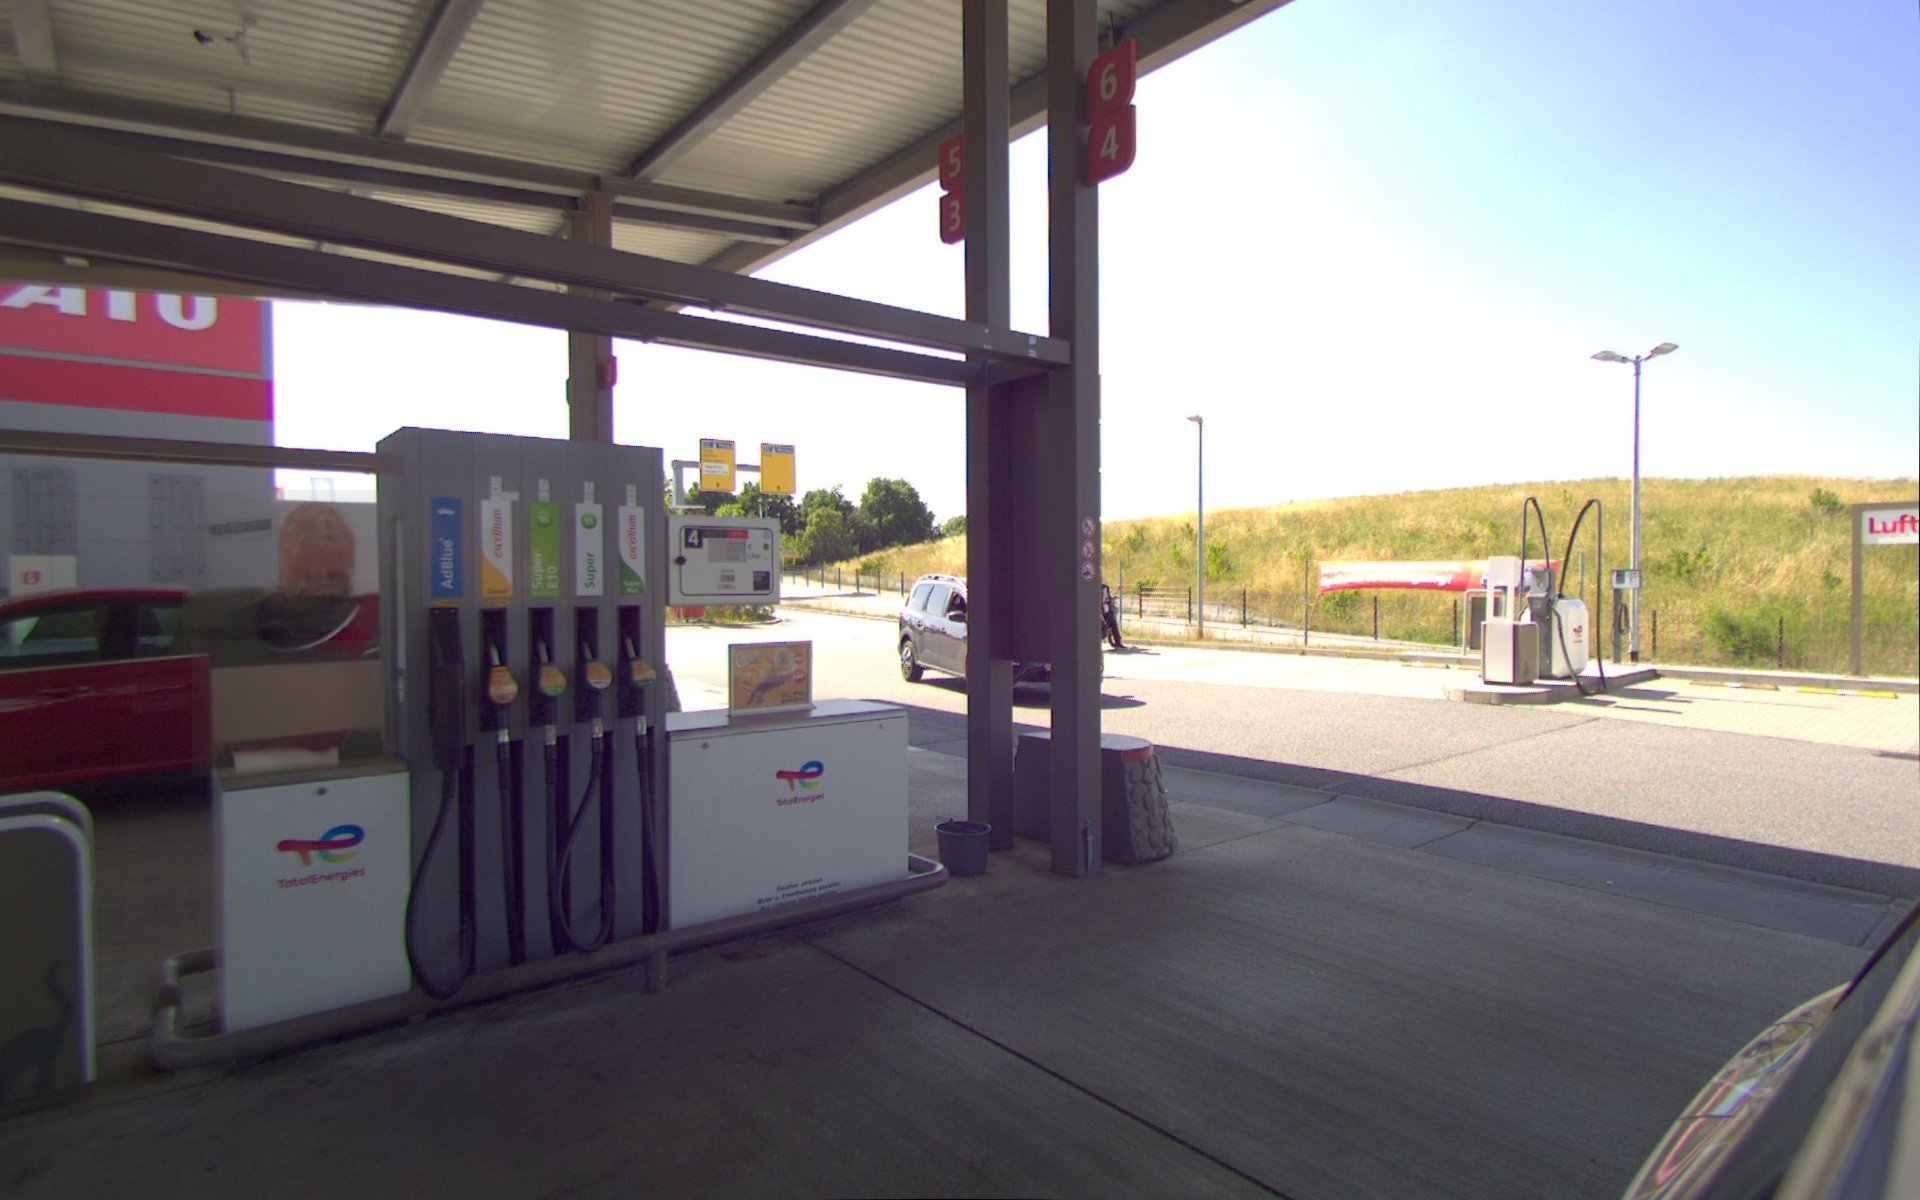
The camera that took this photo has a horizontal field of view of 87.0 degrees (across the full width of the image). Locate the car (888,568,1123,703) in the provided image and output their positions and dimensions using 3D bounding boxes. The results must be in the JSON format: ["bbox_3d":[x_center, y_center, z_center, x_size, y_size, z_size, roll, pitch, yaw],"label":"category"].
[{"bbox_3d":[0.459,0.394,14.919,1.707,1.665,4.642,0,1,-22],"label":"car"}]

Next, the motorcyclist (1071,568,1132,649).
[{"bbox_3d":[3.088,0.160,22.002,1.024,1.709,1.089,1,1,26],"label":"motorcyclist"}]

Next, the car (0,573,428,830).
[{"bbox_3d":[-5.958,0.573,6.611,4.158,1.487,1.702,-1,1,-40],"label":"car"}]

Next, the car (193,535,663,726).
[{"bbox_3d":[-6.258,0.293,12.231,4.712,1.874,2.032,1,1,-40],"label":"car"}]

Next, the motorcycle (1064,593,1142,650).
[{"bbox_3d":[3.171,0.436,22.200,1.035,1.119,2.395,1,2,26],"label":"motorcycle"}]

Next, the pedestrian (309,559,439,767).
[{"bbox_3d":[-5.195,0.513,8.972,0.911,1.724,0.703,0,1,-39],"label":"pedestrian"}]

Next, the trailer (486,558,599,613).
[{"bbox_3d":[-16.296,-0.591,39.688,1.784,2.039,3.965,1,1,26],"label":"trailer"}]

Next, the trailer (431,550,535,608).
[{"bbox_3d":[-21.343,-0.938,45.449,1.977,2.457,3.969,1,1,23],"label":"trailer"}]

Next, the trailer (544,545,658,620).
[{"bbox_3d":[-12.441,-0.641,35.327,1.970,2.457,3.985,1,1,13],"label":"trailer"}]

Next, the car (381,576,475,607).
[{"bbox_3d":[-24.218,-0.401,46.223,1.659,1.334,3.816,1,1,17],"label":"car"}]
